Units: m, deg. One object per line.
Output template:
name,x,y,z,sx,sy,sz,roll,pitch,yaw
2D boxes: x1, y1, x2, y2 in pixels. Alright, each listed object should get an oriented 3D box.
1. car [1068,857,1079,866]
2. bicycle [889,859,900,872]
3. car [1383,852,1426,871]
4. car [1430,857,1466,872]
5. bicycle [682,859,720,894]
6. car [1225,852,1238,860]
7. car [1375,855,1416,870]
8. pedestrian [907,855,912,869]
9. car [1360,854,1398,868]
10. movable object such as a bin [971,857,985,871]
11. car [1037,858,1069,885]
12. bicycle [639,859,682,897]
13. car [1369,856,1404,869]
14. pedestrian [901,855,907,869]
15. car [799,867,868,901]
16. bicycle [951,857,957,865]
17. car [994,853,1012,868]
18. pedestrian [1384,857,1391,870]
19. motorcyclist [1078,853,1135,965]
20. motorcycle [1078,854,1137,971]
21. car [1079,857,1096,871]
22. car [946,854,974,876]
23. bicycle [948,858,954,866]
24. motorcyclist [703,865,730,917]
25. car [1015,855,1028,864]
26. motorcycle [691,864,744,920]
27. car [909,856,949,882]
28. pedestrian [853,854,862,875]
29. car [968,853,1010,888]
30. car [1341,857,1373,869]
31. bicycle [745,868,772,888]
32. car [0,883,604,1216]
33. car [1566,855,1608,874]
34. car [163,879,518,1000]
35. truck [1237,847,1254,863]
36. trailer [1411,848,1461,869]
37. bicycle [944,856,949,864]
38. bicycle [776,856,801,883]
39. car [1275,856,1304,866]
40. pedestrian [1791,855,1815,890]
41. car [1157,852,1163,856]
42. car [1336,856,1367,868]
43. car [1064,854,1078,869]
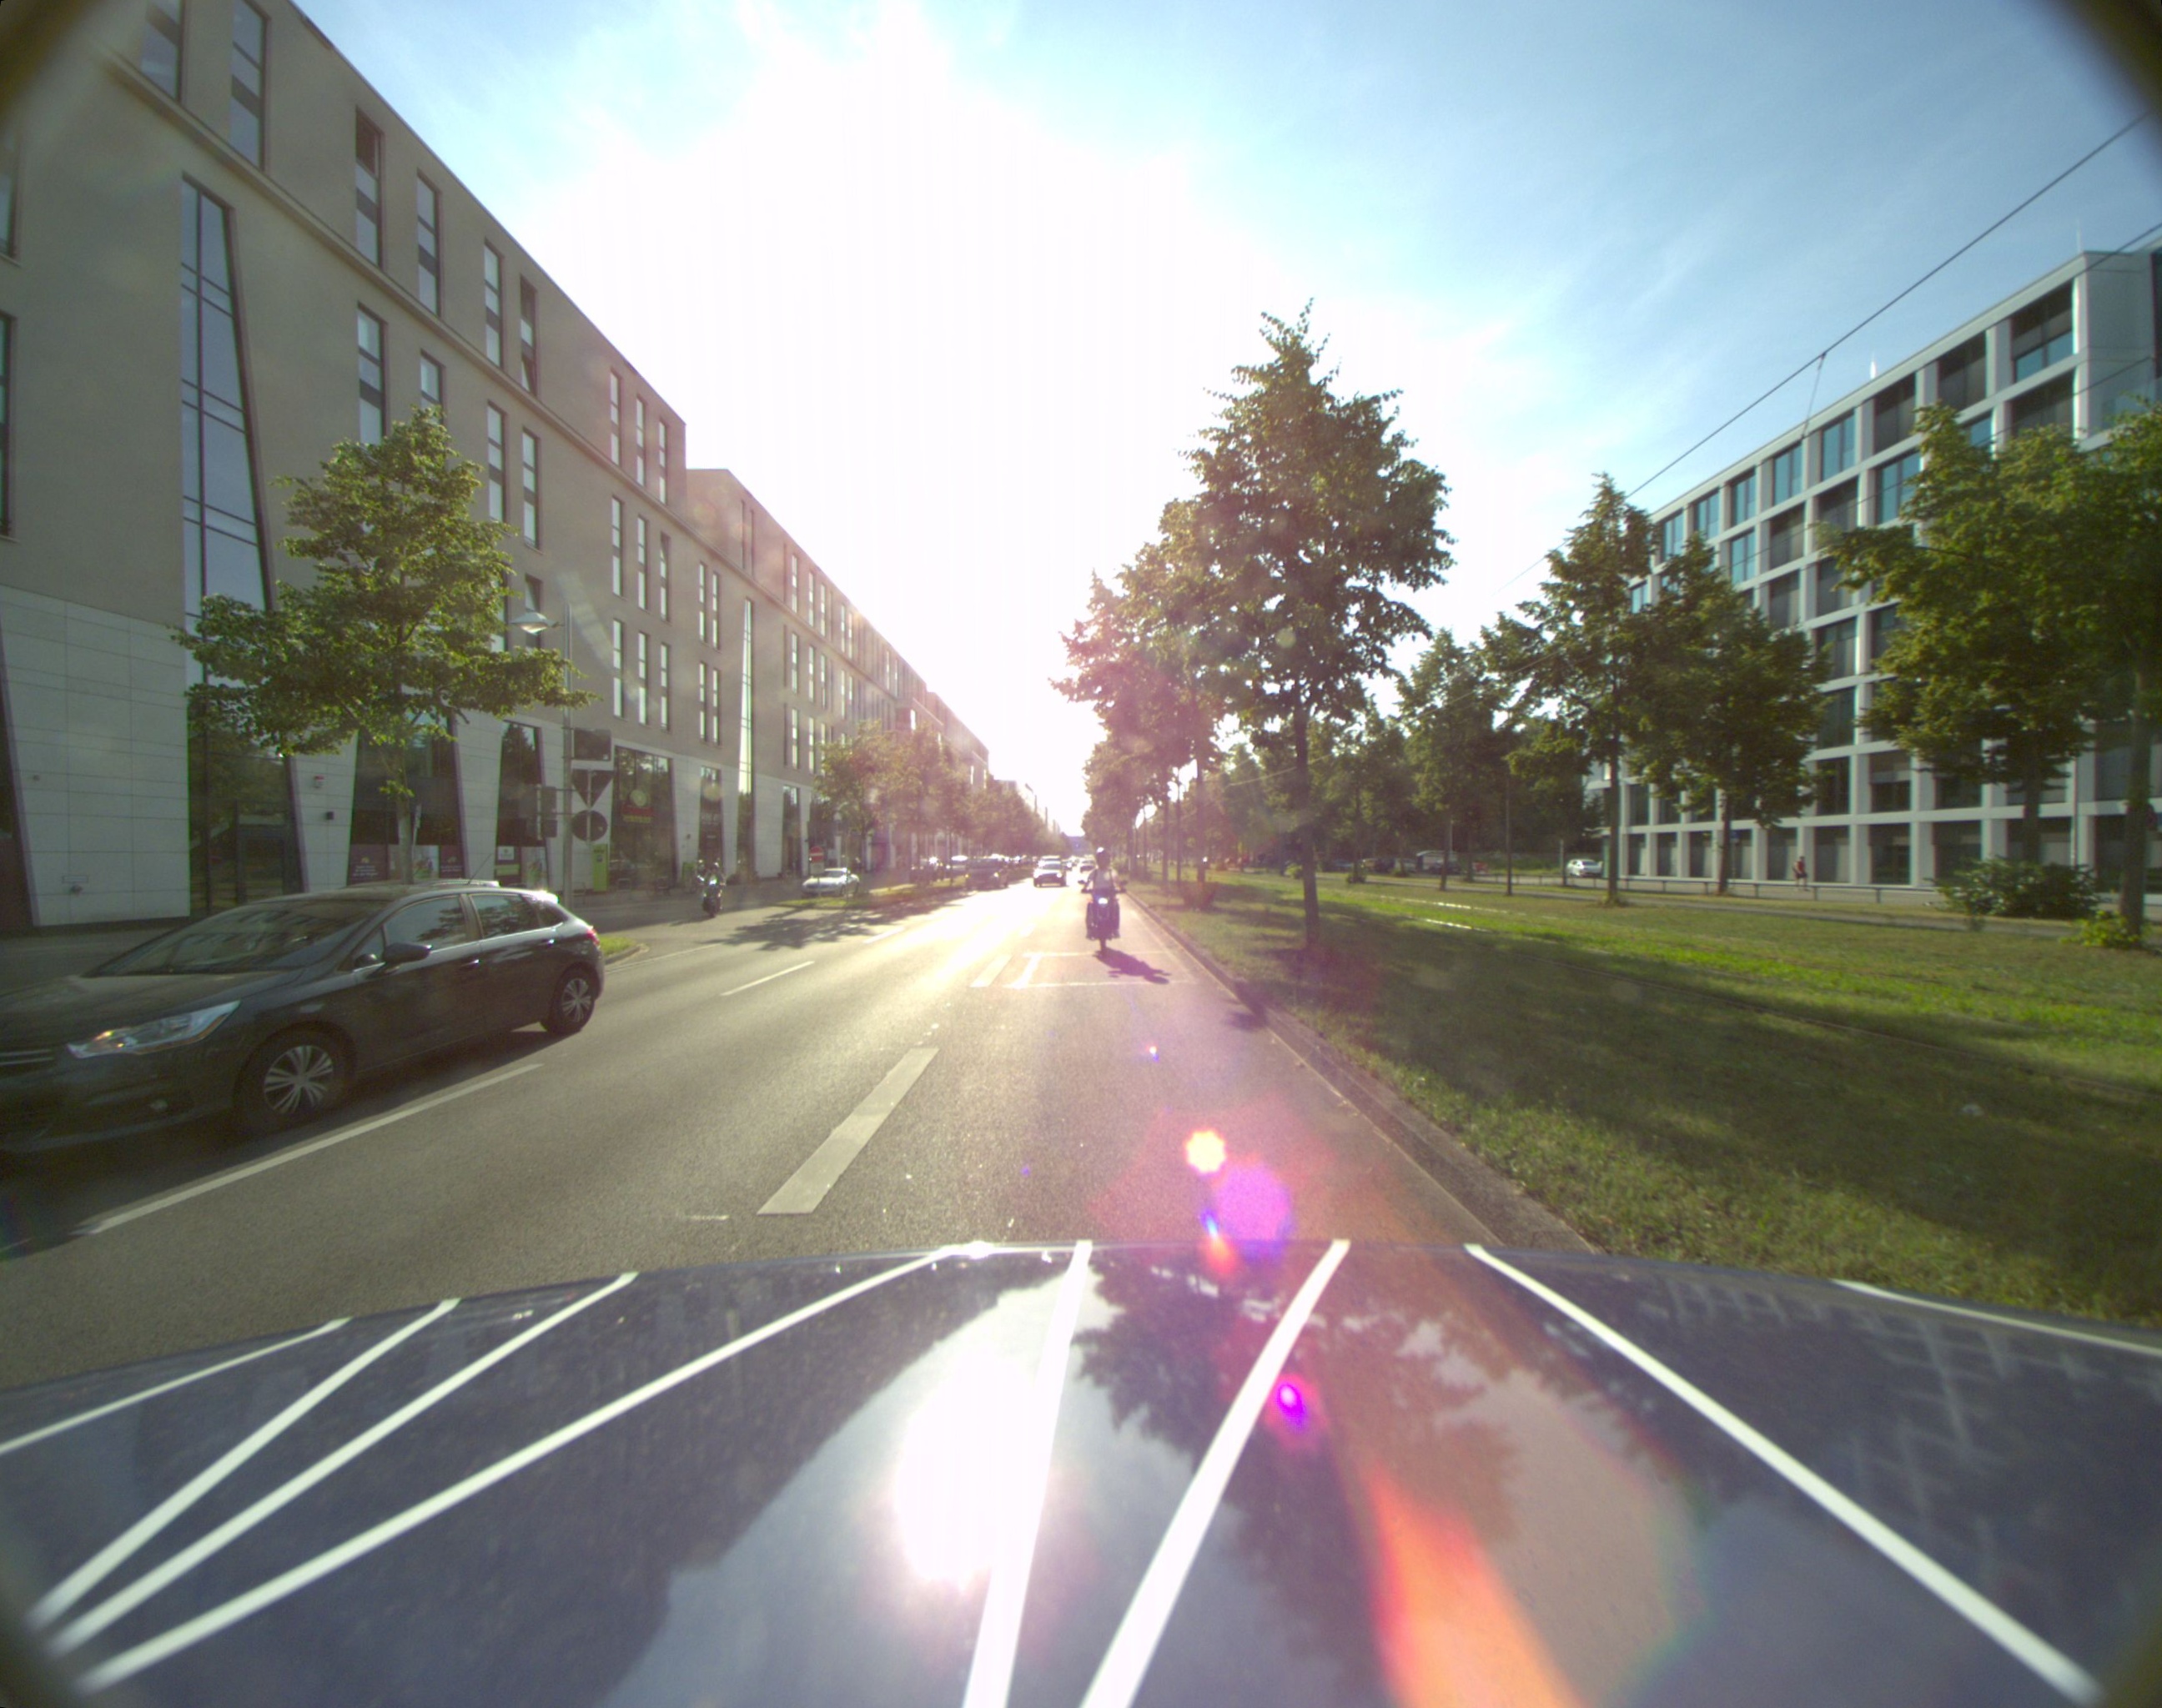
car,-1.283,1.313,131.888,1.840,1.521,4.327,-2,1,0
bicycle,-17.580,1.085,71.629,0.493,1.110,1.945,0,1,1
car,36.316,0.834,85.360,4.002,1.936,1.757,-2,1,1
car,36.553,1.048,75.769,1.684,1.385,3.760,-2,1,-3
bicycle,-18.130,1.038,36.288,0.557,1.558,2.212,-2,1,1
car,29.147,0.458,147.239,1.835,1.423,4.474,-2,1,2
car,36.526,0.996,88.341,4.002,1.633,1.757,-2,1,1
pedestrian,-19.229,0.880,85.223,0.540,1.565,0.514,-2,1,-14
car,37.550,0.891,95.811,3.996,1.551,1.856,-2,1,3
movable object such as a bin,-10.209,1.014,75.413,1.281,1.284,1.178,-2,1,-3
car,-1.633,0.992,44.973,1.756,1.427,4.034,-2,1,-2
bicycle,-18.304,1.008,33.143,0.557,1.562,2.276,0,1,1
car,36.916,1.041,91.903,3.576,1.417,1.726,-2,1,1
pedestrian,-19.844,0.919,85.094,0.515,1.513,0.597,-2,1,0
car,-10.833,1.282,33.507,1.712,1.235,3.905,-2,1,0
bicycle,-17.333,0.981,103.873,0.420,1.093,2.108,3,1,1
car,-9.985,0.804,97.638,1.842,1.865,5.030,-2,1,-1
pedestrian,34.598,1.084,85.713,0.523,1.472,0.568,-2,1,0
motorcyclist,0.392,0.858,12.197,0.814,1.700,0.843,-2,1,0
motorcycle,0.388,0.857,12.447,0.798,1.659,2.634,-2,1,0
car,0.725,1.114,85.682,1.739,1.499,3.999,-2,1,0
car,-10.505,0.933,66.315,1.832,1.702,4.295,-2,1,-1
bicycle,-17.272,1.068,101.025,0.419,0.995,2.043,3,1,1
motorcyclist,-11.456,1.154,23.892,0.625,1.631,0.417,0,1,-3
car,-9.908,0.906,127.243,1.733,1.424,4.113,-2,1,0
motorcycle,-11.409,1.169,23.923,0.703,1.608,2.011,-2,1,-1
car,-10.717,1.037,53.957,1.902,1.698,4.677,-2,0,-1
pedestrian,-18.874,0.879,64.198,0.538,1.752,0.646,-2,1,1
car,-5.340,0.910,44.600,1.803,1.880,4.820,-2,1,0
car,36.694,1.137,101.086,3.655,1.420,1.809,-2,1,3
bicycle,-18.064,1.320,42.597,0.635,1.077,1.904,0,0,1
car,-5.705,1.052,5.701,1.699,1.416,4.038,-2,1,-1
car,47.241,0.930,70.982,1.851,1.586,4.003,-2,1,11
car,-11.366,1.208,12.172,1.611,1.362,4.156,-2,1,-1
truck,38.882,0.124,179.537,2.895,3.496,7.946,-2,1,5
trailer,37.156,0.476,79.663,4.374,2.042,1.758,-2,1,4
bicycle,-17.223,0.767,97.345,0.345,1.075,1.732,3,1,1
bicycle,-18.072,0.931,47.002,0.557,1.610,2.212,-2,1,1
car,30.837,1.059,112.667,1.690,1.427,4.025,-3,1,-32
pedestrian,36.534,0.944,38.454,0.569,1.718,0.691,-2,1,1
car,26.970,-0.043,260.160,1.686,1.467,4.812,2,1,1
car,38.465,1.107,108.232,3.865,1.477,1.744,-2,1,8
car,-1.305,0.918,98.576,1.777,1.805,3.999,-2,1,0
